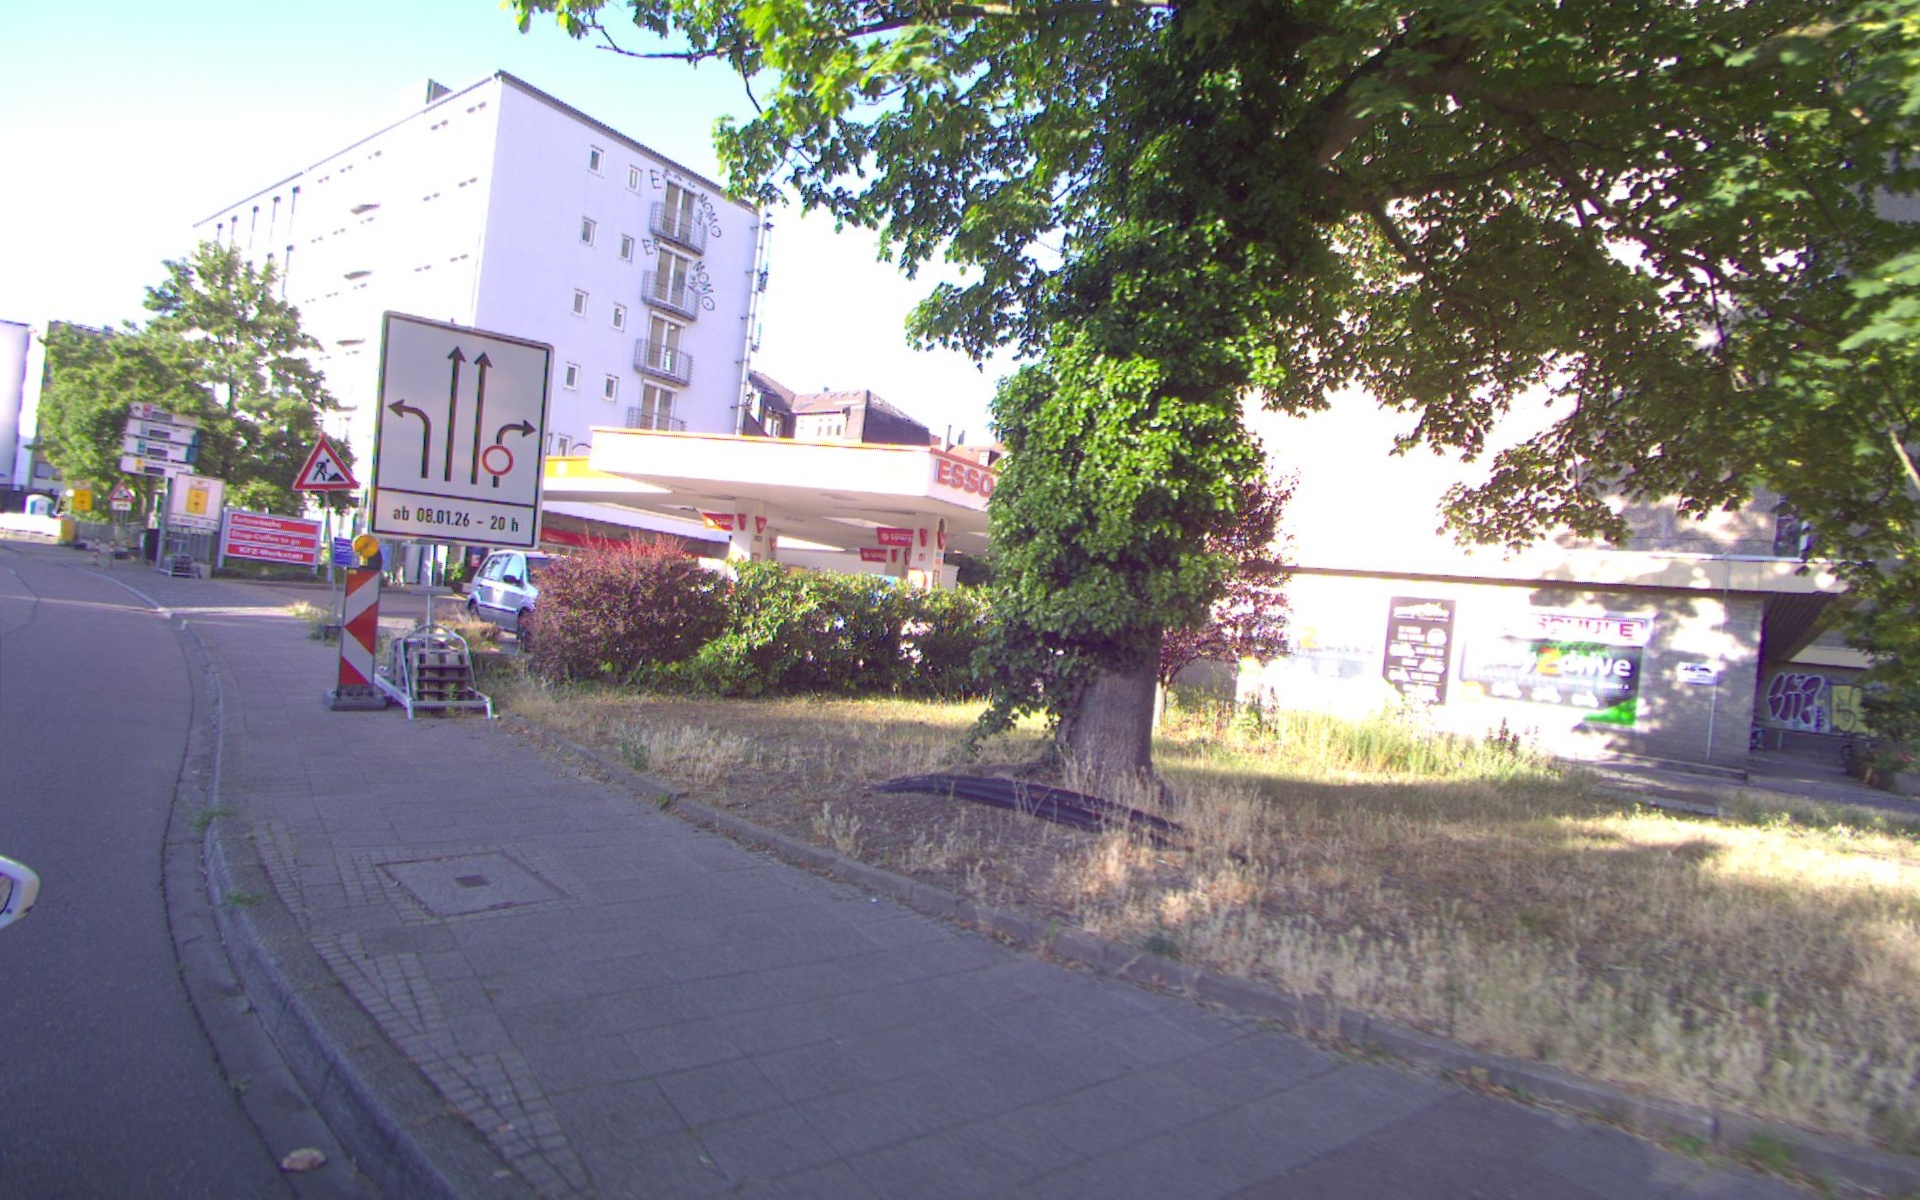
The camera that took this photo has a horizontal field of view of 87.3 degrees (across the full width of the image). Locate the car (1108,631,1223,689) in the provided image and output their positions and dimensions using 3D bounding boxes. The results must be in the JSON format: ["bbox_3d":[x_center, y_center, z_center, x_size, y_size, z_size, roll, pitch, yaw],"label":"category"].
[{"bbox_3d":[6.692,1.952,32.475,1.971,1.466,3.986,6,-2,38],"label":"car"}]

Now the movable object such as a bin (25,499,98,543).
[{"bbox_3d":[-60.784,-5.339,68.114,1.507,2.411,3.326,6,-1,39],"label":"movable object such as a bin"}]

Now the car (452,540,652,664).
[{"bbox_3d":[-6.633,-0.021,16.157,1.614,1.613,3.848,7,-2,-42],"label":"car"}]

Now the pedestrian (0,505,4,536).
[{"bbox_3d":[-57.743,-4.812,60.073,0.706,1.821,0.739,6,-1,43],"label":"pedestrian"}]

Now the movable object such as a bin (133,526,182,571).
[{"bbox_3d":[-29.586,-1.882,37.089,1.237,1.525,1.091,2,-3,41],"label":"movable object such as a bin"}]

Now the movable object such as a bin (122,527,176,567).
[{"bbox_3d":[-31.893,-2.059,39.552,1.036,1.360,1.217,6,-1,25],"label":"movable object such as a bin"}]

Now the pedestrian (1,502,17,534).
[{"bbox_3d":[-57.722,-4.968,61.084,0.518,1.891,0.608,7,0,-40],"label":"pedestrian"}]

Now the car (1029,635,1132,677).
[{"bbox_3d":[5.327,2.480,44.830,4.195,1.312,1.744,6,-1,40],"label":"car"}]

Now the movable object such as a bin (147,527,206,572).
[{"bbox_3d":[-30.272,-1.953,38.874,1.190,1.502,1.328,6,-1,31],"label":"movable object such as a bin"}]
